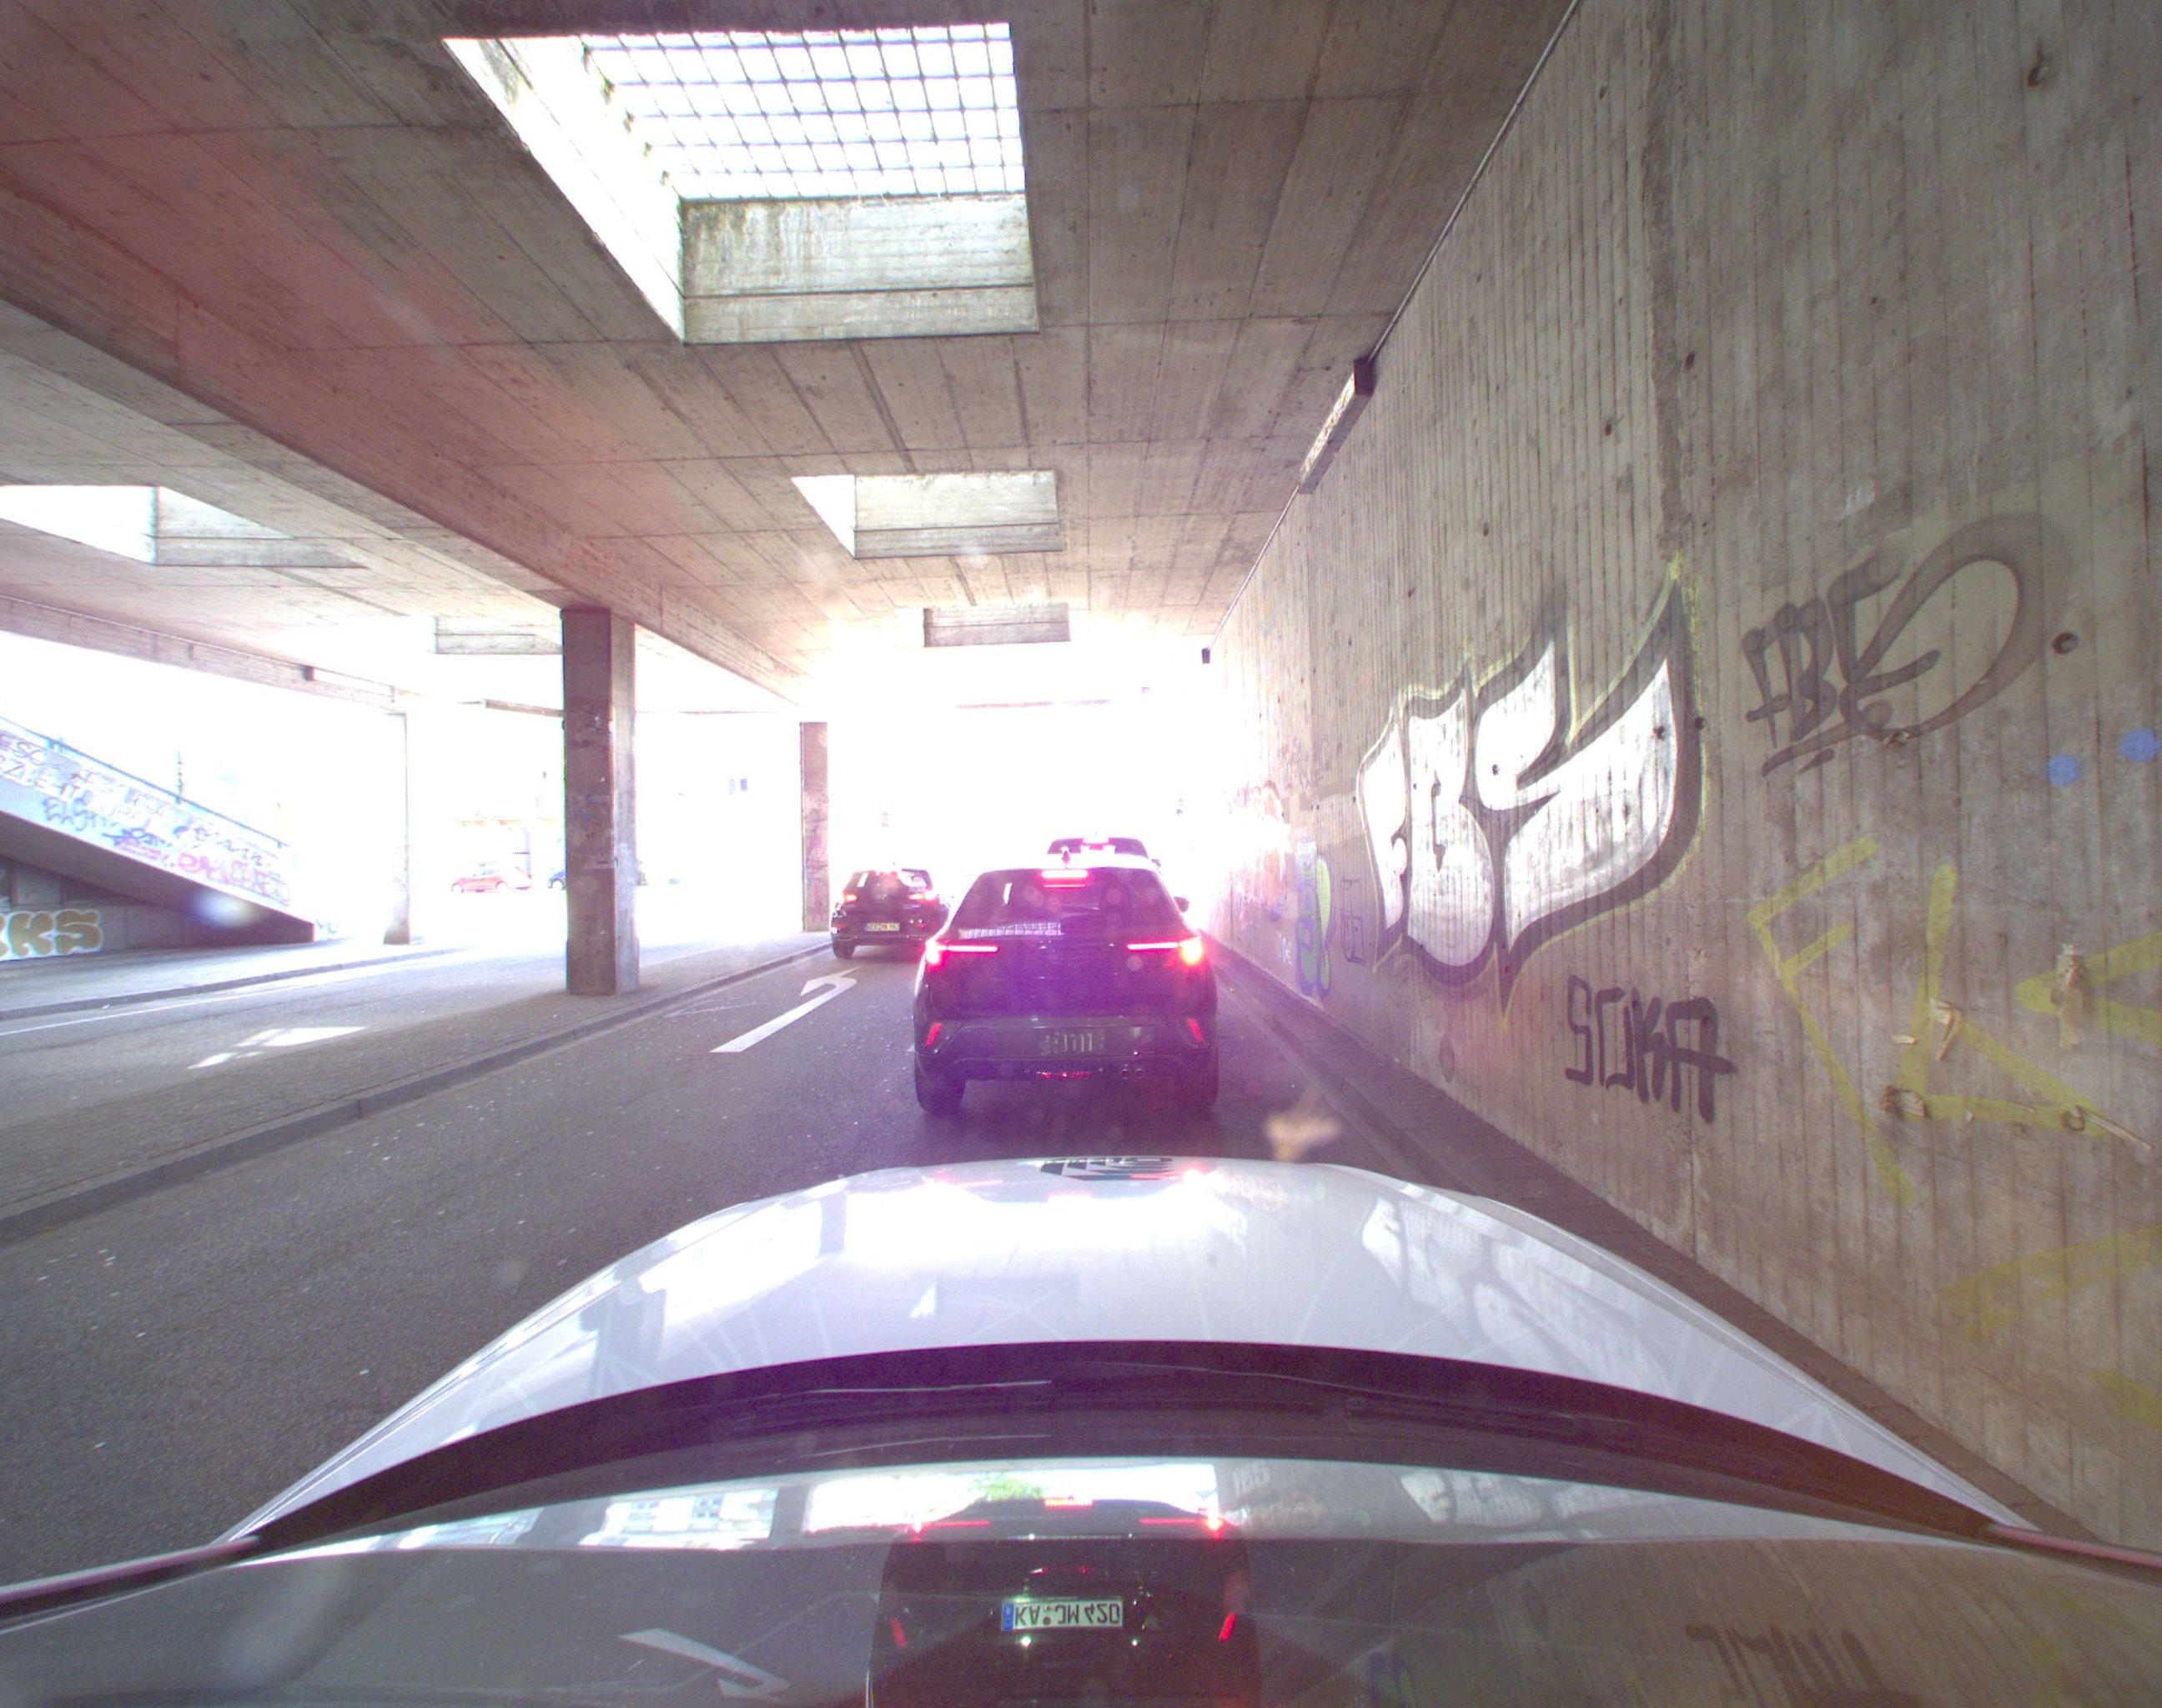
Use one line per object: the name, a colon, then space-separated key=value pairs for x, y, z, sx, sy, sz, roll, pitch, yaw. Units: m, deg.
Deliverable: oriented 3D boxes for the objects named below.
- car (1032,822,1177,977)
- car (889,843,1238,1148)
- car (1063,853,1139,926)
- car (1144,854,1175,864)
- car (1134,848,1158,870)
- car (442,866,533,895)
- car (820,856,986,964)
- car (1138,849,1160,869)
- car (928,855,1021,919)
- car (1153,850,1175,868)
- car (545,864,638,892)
car: x=0.357 y=0.566 z=12.142 sx=1.755 sy=1.883 sz=4.148 roll=-1 pitch=0 yaw=2
car: x=-0.028 y=0.726 z=6.203 sx=1.755 sy=1.531 sz=4.091 roll=-1 pitch=0 yaw=2
car: x=0.493 y=0.761 z=19.360 sx=1.603 sy=1.513 sz=4.055 roll=-1 pitch=0 yaw=2
car: x=12.848 y=0.851 z=133.665 sx=4.814 sy=1.667 sz=1.812 roll=0 pitch=-1 yaw=-19
car: x=4.970 y=0.377 z=62.229 sx=1.745 sy=1.667 sz=3.950 roll=0 pitch=-1 yaw=6
car: x=-32.927 y=1.448 z=45.247 sx=3.748 sy=1.475 sz=1.749 roll=-1 pitch=-1 yaw=0
car: x=-2.749 y=0.800 z=13.462 sx=1.755 sy=1.480 sz=3.846 roll=-1 pitch=0 yaw=2
car: x=5.757 y=0.420 z=68.333 sx=1.745 sy=1.667 sz=3.950 roll=0 pitch=-1 yaw=6
car: x=-2.659 y=0.796 z=21.190 sx=1.755 sy=1.480 sz=3.846 roll=-1 pitch=0 yaw=2
car: x=8.039 y=0.489 z=78.828 sx=1.742 sy=1.667 sz=3.956 roll=-1 pitch=-1 yaw=11
car: x=-27.171 y=1.324 z=45.270 sx=4.096 sy=1.475 sz=1.737 roll=-1 pitch=-1 yaw=0
